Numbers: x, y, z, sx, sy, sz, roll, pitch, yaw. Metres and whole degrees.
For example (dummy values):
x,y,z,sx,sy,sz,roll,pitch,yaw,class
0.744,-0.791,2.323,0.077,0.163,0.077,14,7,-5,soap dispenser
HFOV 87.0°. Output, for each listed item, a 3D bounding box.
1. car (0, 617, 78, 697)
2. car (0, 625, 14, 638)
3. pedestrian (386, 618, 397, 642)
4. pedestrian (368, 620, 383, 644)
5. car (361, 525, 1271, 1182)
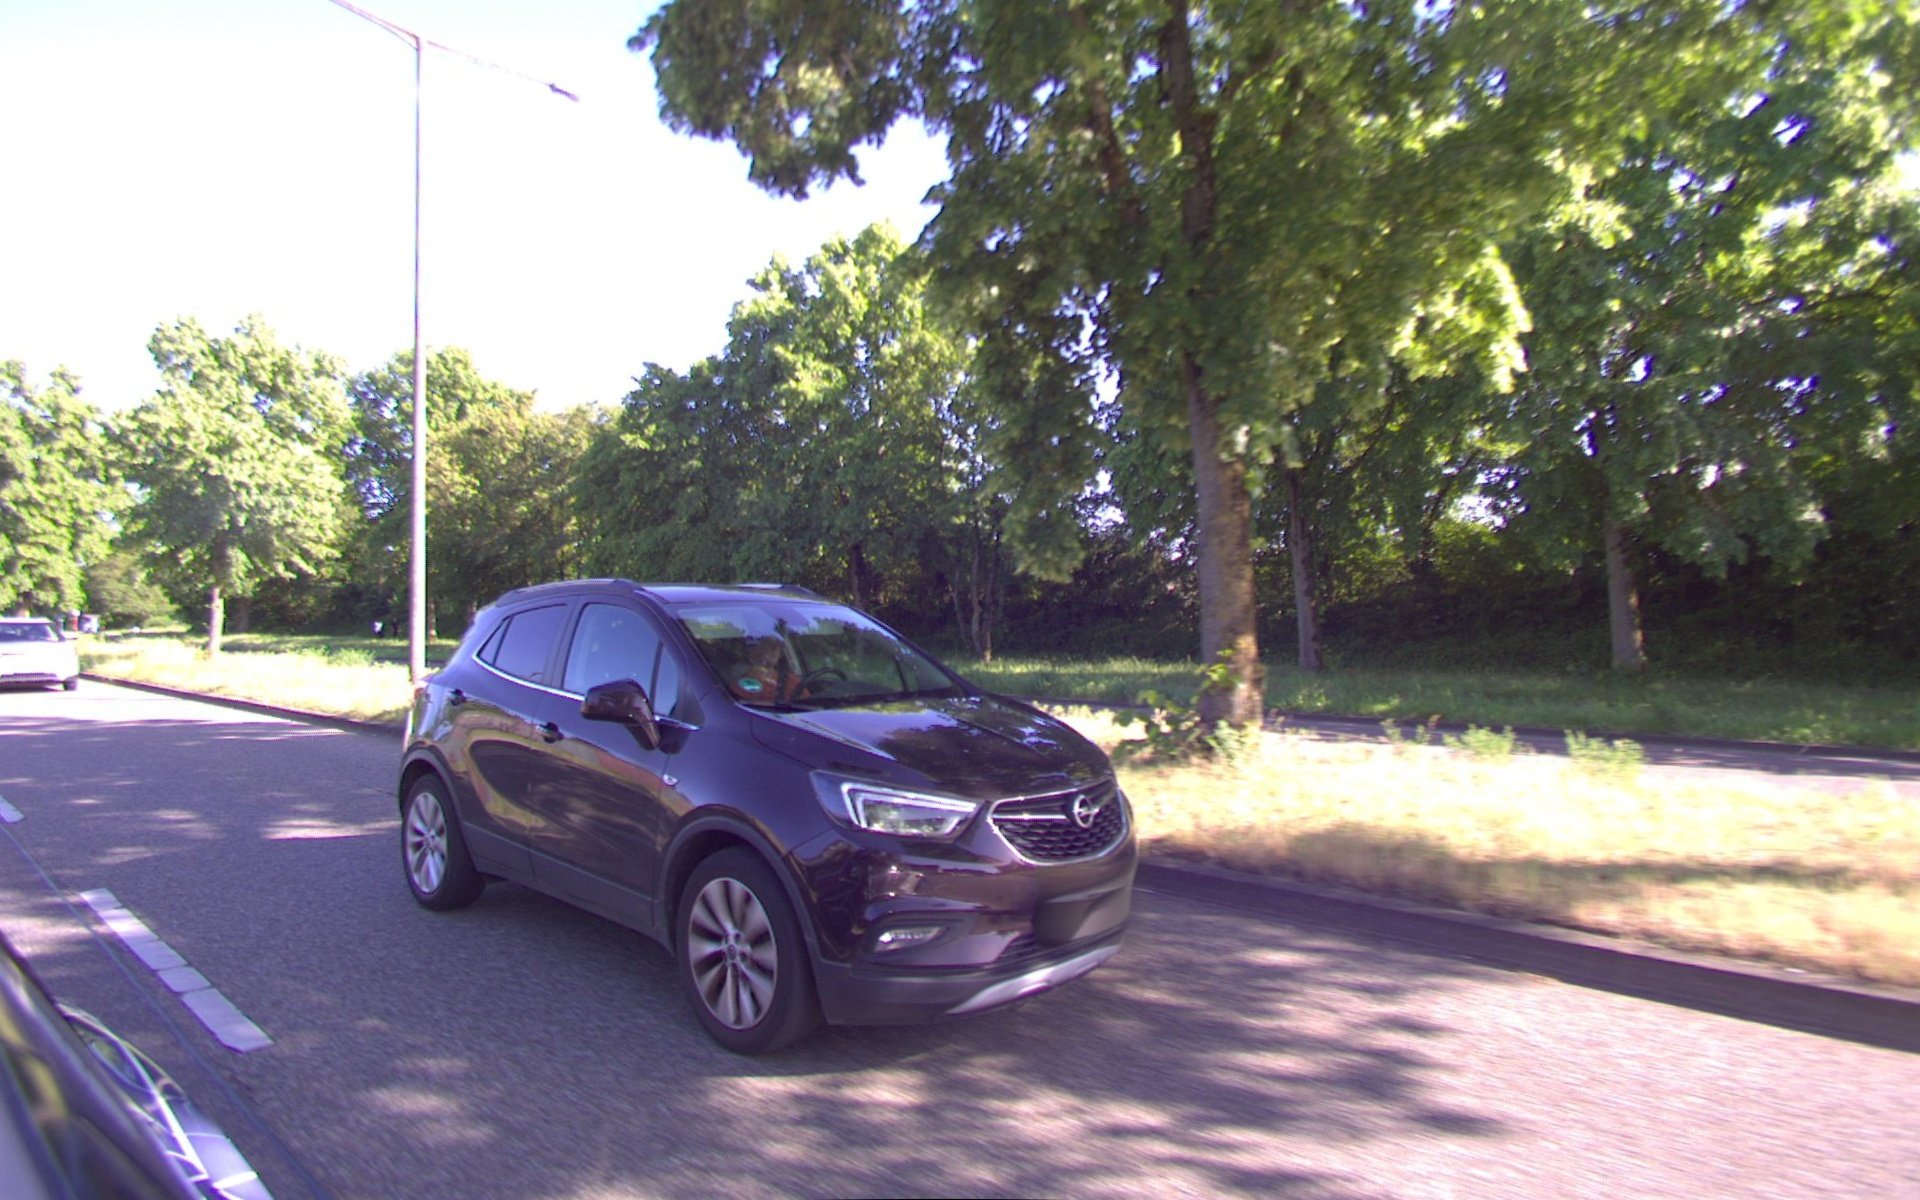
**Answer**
x,y,z,sx,sy,sz,roll,pitch,yaw,class
-20.717,1.192,22.021,4.104,1.622,1.766,-1,-2,41,car
-112.626,3.701,118.970,4.343,1.467,1.708,-1,-2,41,car
-40.146,2.111,71.499,0.541,1.672,0.553,-1,0,45,pedestrian
-40.894,2.231,70.813,0.679,1.672,0.674,0,2,42,pedestrian
-1.034,0.676,4.647,4.415,1.644,1.678,-1,-2,41,car
